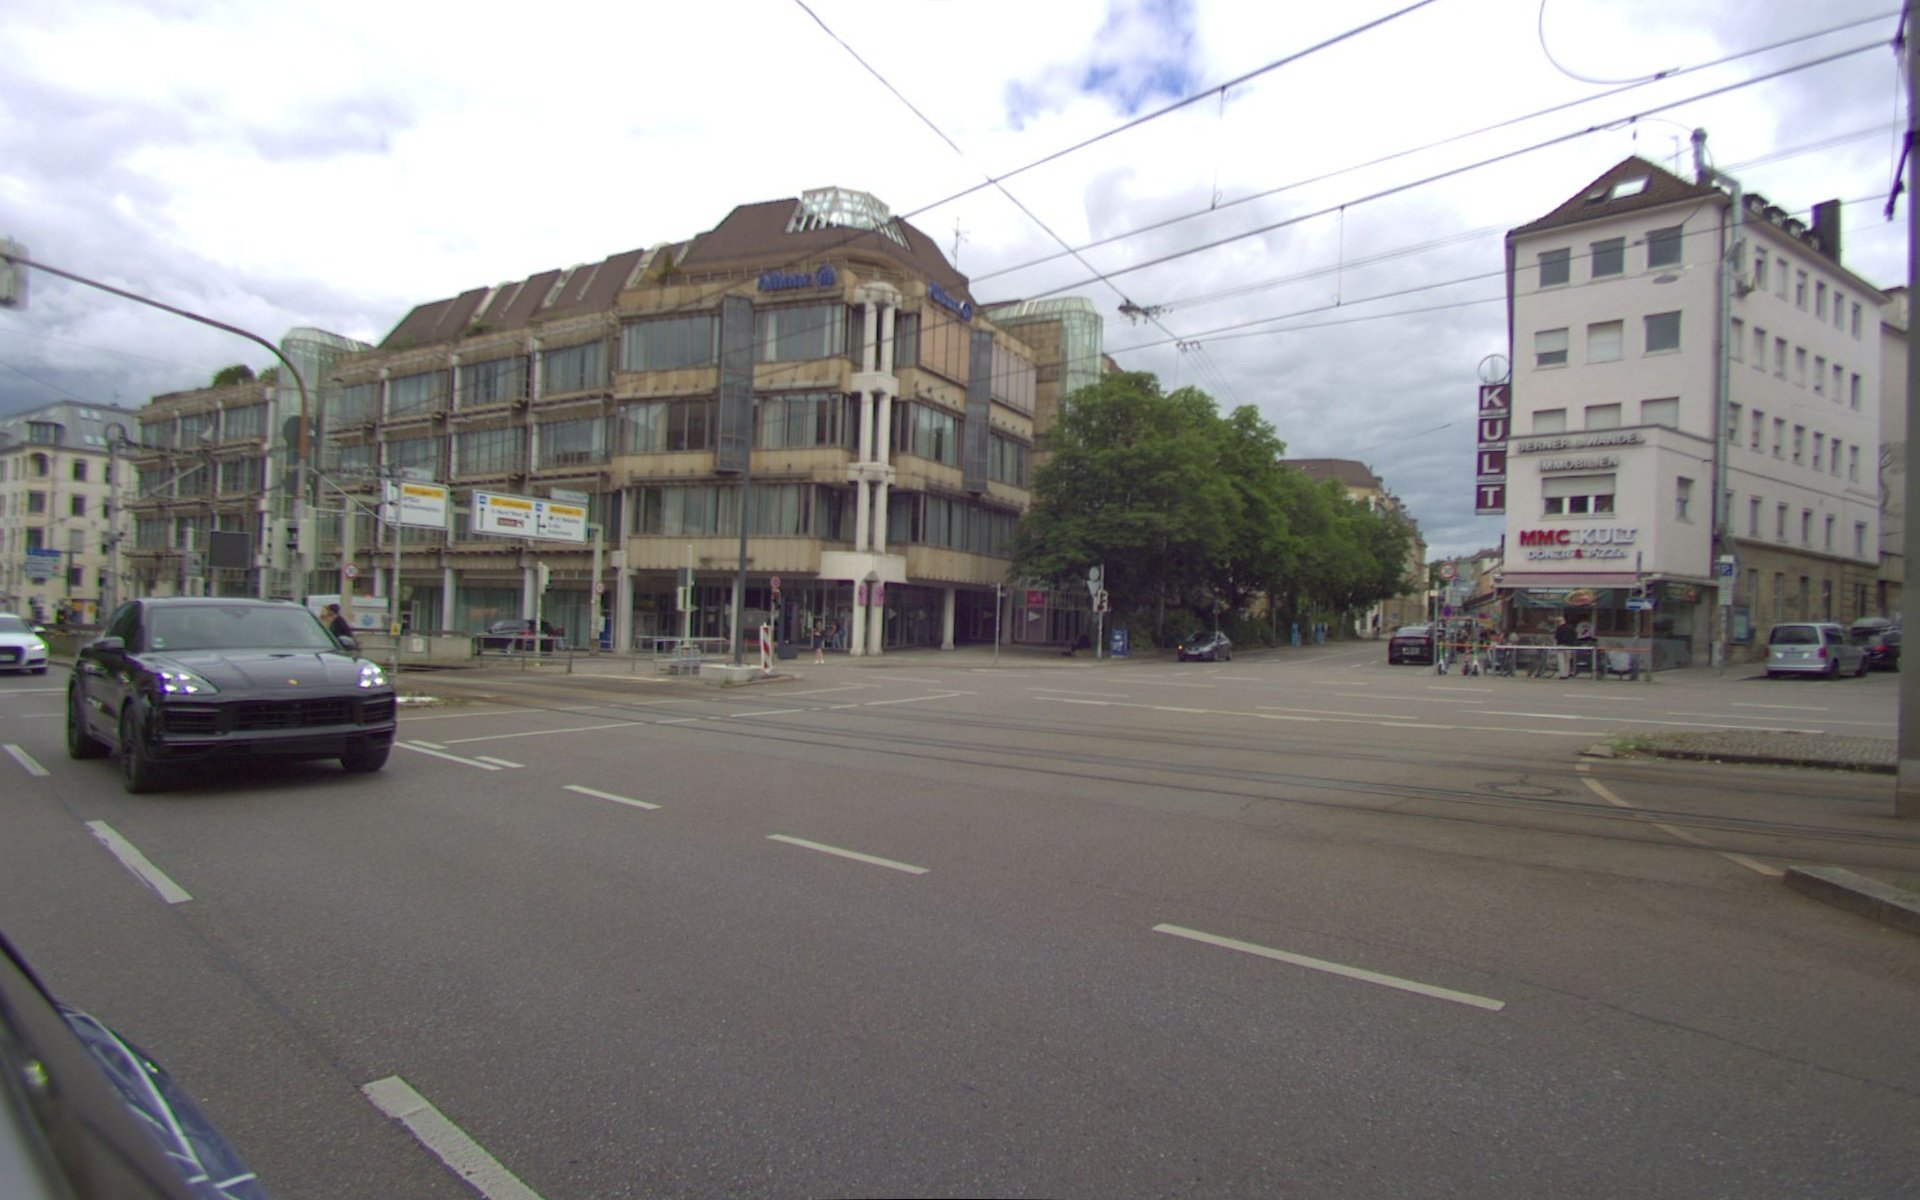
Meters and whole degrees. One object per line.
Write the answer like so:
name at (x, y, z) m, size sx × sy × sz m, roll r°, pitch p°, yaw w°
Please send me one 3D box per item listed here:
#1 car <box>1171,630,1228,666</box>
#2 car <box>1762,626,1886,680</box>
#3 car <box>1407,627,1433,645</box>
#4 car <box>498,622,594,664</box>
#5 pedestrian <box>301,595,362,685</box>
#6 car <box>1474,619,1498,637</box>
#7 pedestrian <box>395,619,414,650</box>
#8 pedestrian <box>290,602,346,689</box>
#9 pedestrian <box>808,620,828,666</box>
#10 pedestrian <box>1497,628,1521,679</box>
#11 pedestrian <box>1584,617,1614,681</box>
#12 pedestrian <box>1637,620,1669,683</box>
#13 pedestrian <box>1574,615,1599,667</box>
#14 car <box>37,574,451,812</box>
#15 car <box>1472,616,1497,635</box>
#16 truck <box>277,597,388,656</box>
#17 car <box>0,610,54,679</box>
car at (11.378, 2.248, 47.865) m, size 1.939 × 1.542 × 3.968 m, roll 0°, pitch -1°, yaw 24°
car at (27.937, 1.660, 32.695) m, size 4.437 × 1.572 × 1.760 m, roll 1°, pitch -1°, yaw -32°
car at (44.453, 3.493, 97.725) m, size 1.917 × 1.725 × 4.450 m, roll -1°, pitch -2°, yaw 29°
car at (-18.834, 1.903, 45.962) m, size 4.768 × 1.772 × 1.660 m, roll 0°, pitch -1°, yaw 33°
pedestrian at (-12.497, 0.787, 20.121) m, size 0.772 × 1.734 × 0.784 m, roll -1°, pitch -2°, yaw 39°
car at (51.150, 2.767, 98.393) m, size 1.645 × 1.725 × 3.608 m, roll -1°, pitch -2°, yaw 33°
pedestrian at (-33.338, 2.052, 60.751) m, size 0.738 × 1.825 × 0.724 m, roll -1°, pitch -1°, yaw 34°
pedestrian at (-13.061, 0.920, 20.594) m, size 0.637 × 1.734 × 0.757 m, roll -1°, pitch -2°, yaw 39°
pedestrian at (-5.692, 1.715, 40.579) m, size 0.577 × 1.793 × 0.504 m, roll -1°, pitch -3°, yaw 42°
pedestrian at (19.458, 1.874, 35.842) m, size 0.503 × 1.793 × 0.578 m, roll 2°, pitch -2°, yaw -38°
pedestrian at (18.235, 1.398, 28.896) m, size 0.503 × 1.793 × 0.578 m, roll 2°, pitch -2°, yaw -38°
pedestrian at (20.229, 1.497, 29.539) m, size 0.567 × 1.793 × 0.513 m, roll 1°, pitch -2°, yaw -24°
pedestrian at (21.840, 1.427, 35.283) m, size 0.503 × 1.793 × 0.599 m, roll 2°, pitch -2°, yaw -38°
car at (-7.089, 0.745, 9.746) m, size 5.349 × 1.688 × 2.061 m, roll -2°, pitch -2°, yaw 41°
car at (46.665, 2.278, 89.994) m, size 1.645 × 1.725 × 3.608 m, roll -1°, pitch -2°, yaw 33°
truck at (-35.560, 1.488, 57.240) m, size 7.351 × 3.100 × 2.249 m, roll 0°, pitch -4°, yaw 33°
car at (-23.218, 1.014, 23.956) m, size 3.994 × 1.542 × 1.926 m, roll -1°, pitch -1°, yaw 38°
